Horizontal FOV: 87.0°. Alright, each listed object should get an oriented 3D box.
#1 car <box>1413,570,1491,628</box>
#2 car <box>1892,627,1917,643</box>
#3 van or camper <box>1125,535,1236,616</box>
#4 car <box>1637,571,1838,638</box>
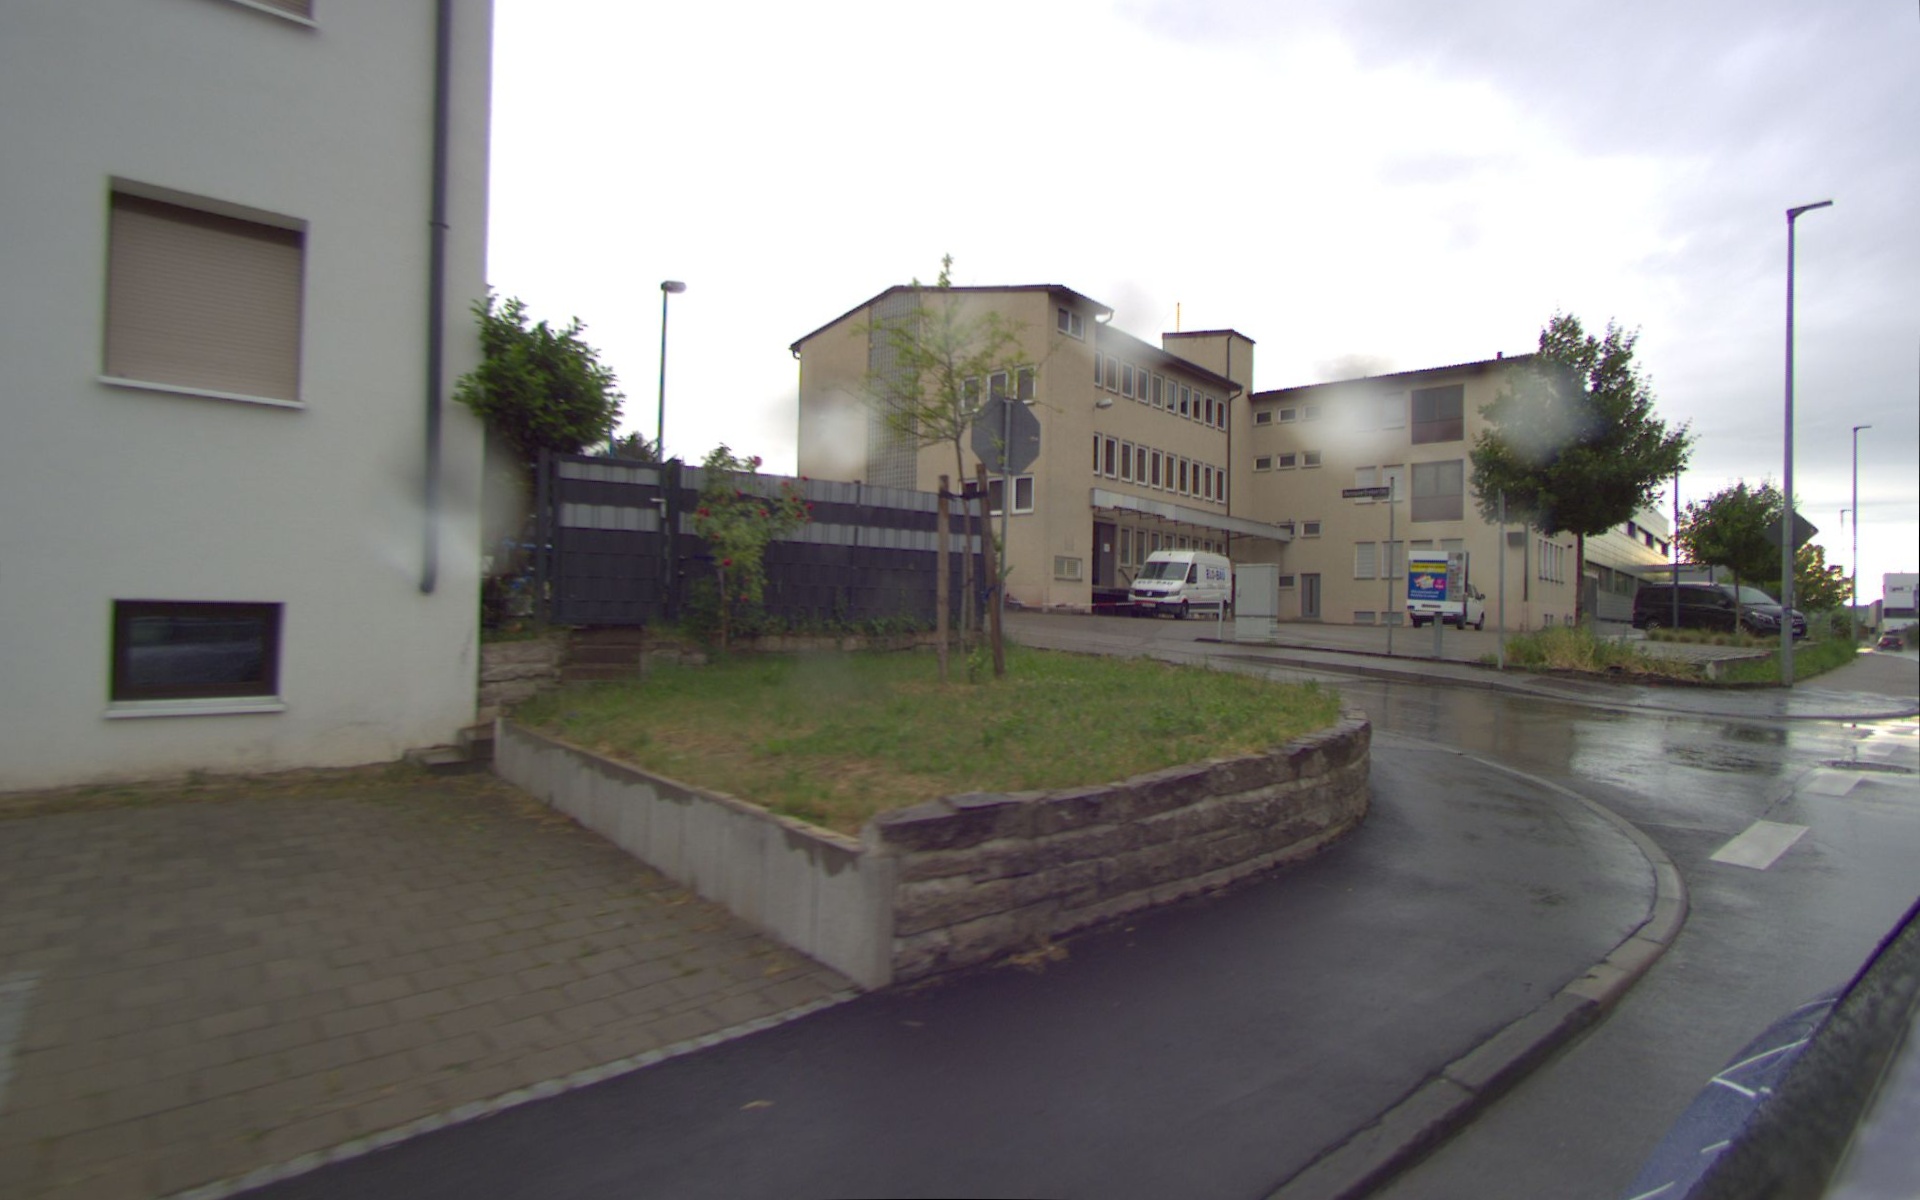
[{"bbox_3d":[19.532,0.022,40.069,1.790,2.040,4.534,-1,-4,39],"label":"car"},{"bbox_3d":[103.628,3.867,111.065,1.849,1.575,4.432,-2,-4,41],"label":"car"},{"bbox_3d":[8.359,-0.782,37.750,1.984,2.570,6.526,-1,-3,32],"label":"van or camper"},{"bbox_3d":[25.122,0.094,33.010,2.011,1.943,5.125,2,1,-10],"label":"car"}]
